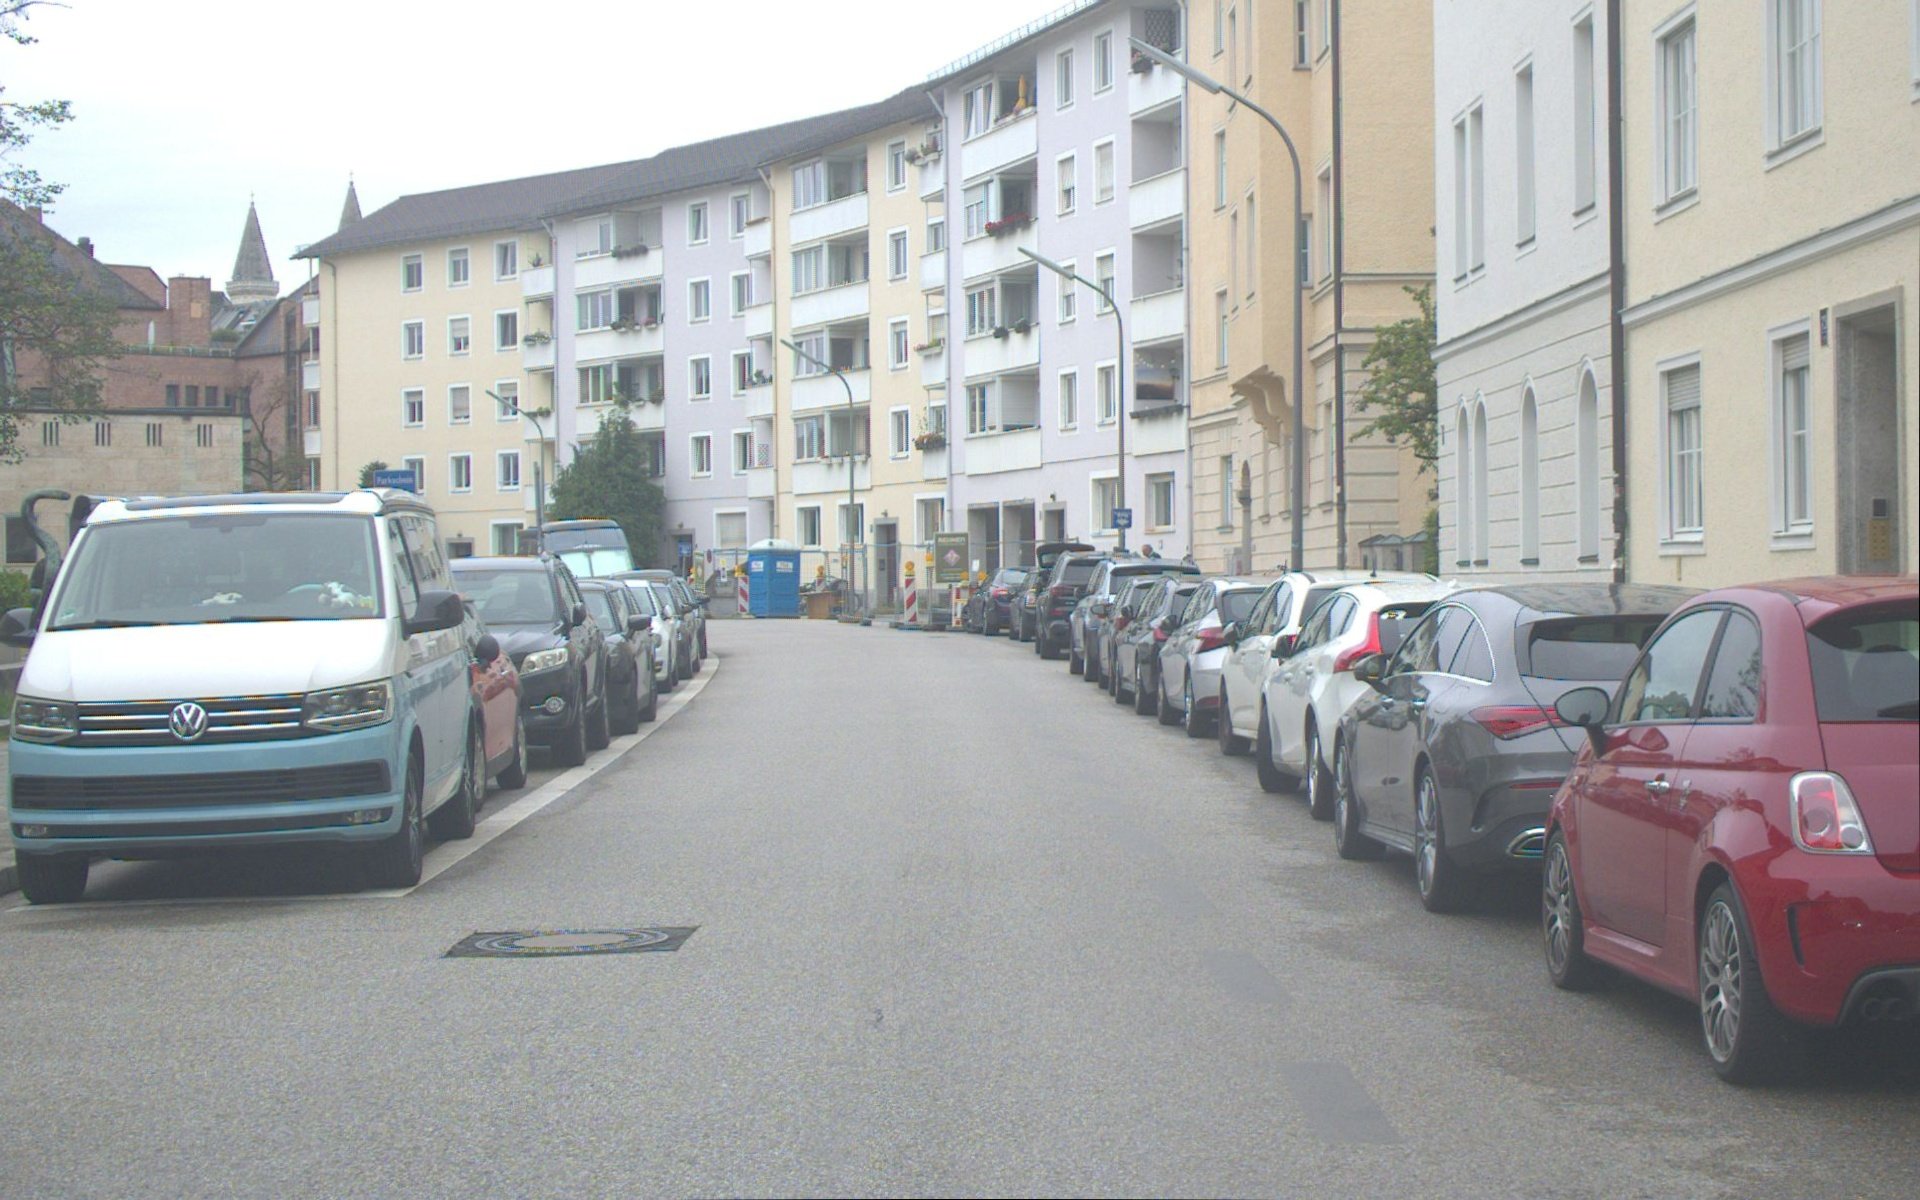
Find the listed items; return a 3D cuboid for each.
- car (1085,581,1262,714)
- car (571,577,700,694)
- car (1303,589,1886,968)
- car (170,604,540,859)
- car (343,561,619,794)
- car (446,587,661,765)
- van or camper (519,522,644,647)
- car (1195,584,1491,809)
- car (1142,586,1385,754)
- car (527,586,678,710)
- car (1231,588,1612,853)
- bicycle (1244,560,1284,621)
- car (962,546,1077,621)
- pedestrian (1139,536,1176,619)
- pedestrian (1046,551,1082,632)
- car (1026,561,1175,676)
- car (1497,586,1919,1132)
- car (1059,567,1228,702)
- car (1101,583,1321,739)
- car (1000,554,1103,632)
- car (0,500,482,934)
[{"bbox_3d":[2.564,0.545,42.107,1.827,1.445,4.084,1,1,-1],"label":"car"},{"bbox_3d":[-4.635,0.476,49.561,1.630,1.489,4.276,-2,1,-3],"label":"car"},{"bbox_3d":[2.820,0.723,16.336,1.773,1.425,4.616,1,1,-2],"label":"car"},{"bbox_3d":[-3.922,0.804,22.856,1.804,1.402,3.709,-2,1,-1],"label":"car"},{"bbox_3d":[-3.843,0.566,28.198,1.714,1.683,4.141,-1,1,-1],"label":"car"},{"bbox_3d":[-3.872,0.686,33.239,1.631,1.489,3.820,-2,1,-1],"label":"car"},{"bbox_3d":[-8.273,-0.347,74.602,2.296,2.572,6.087,0,0,-10],"label":"van or camper"},{"bbox_3d":[2.933,0.696,27.090,1.650,1.538,3.994,1,1,-3],"label":"car"},{"bbox_3d":[2.765,0.604,32.162,1.724,1.445,4.188,0,0,-3],"label":"car"},{"bbox_3d":[-4.548,0.579,44.229,1.740,1.417,4.295,1,1,-4],"label":"car"},{"bbox_3d":[2.846,0.695,22.084,1.725,1.425,4.294,1,1,-2],"label":"car"},{"bbox_3d":[5.455,-0.178,61.744,0.502,1.045,2.138,-3,1,0],"label":"bicycle"},{"bbox_3d":[1.239,-0.386,73.690,1.908,1.472,4.947,1,1,-5],"label":"car"},{"bbox_3d":[4.123,-0.471,71.983,0.617,1.684,0.919,-3,1,-1],"label":"pedestrian"},{"bbox_3d":[1.984,-0.173,65.522,0.628,1.523,0.578,1,1,-2],"label":"pedestrian"},{"bbox_3d":[2.277,0.260,57.231,2.170,1.733,5.024,1,1,-1],"label":"car"},{"bbox_3d":[2.962,0.718,11.357,1.654,1.425,3.756,1,1,-2],"label":"car"},{"bbox_3d":[2.454,0.431,46.968,1.846,1.658,4.499,1,1,-2],"label":"car"},{"bbox_3d":[2.621,0.604,36.950,1.875,1.445,4.678,1,1,-2],"label":"car"},{"bbox_3d":[1.765,-0.153,67.307,1.630,1.412,3.680,1,1,-4],"label":"car"},{"bbox_3d":[-3.638,0.474,17.980,1.914,1.953,4.962,0,1,-4],"label":"car"}]
